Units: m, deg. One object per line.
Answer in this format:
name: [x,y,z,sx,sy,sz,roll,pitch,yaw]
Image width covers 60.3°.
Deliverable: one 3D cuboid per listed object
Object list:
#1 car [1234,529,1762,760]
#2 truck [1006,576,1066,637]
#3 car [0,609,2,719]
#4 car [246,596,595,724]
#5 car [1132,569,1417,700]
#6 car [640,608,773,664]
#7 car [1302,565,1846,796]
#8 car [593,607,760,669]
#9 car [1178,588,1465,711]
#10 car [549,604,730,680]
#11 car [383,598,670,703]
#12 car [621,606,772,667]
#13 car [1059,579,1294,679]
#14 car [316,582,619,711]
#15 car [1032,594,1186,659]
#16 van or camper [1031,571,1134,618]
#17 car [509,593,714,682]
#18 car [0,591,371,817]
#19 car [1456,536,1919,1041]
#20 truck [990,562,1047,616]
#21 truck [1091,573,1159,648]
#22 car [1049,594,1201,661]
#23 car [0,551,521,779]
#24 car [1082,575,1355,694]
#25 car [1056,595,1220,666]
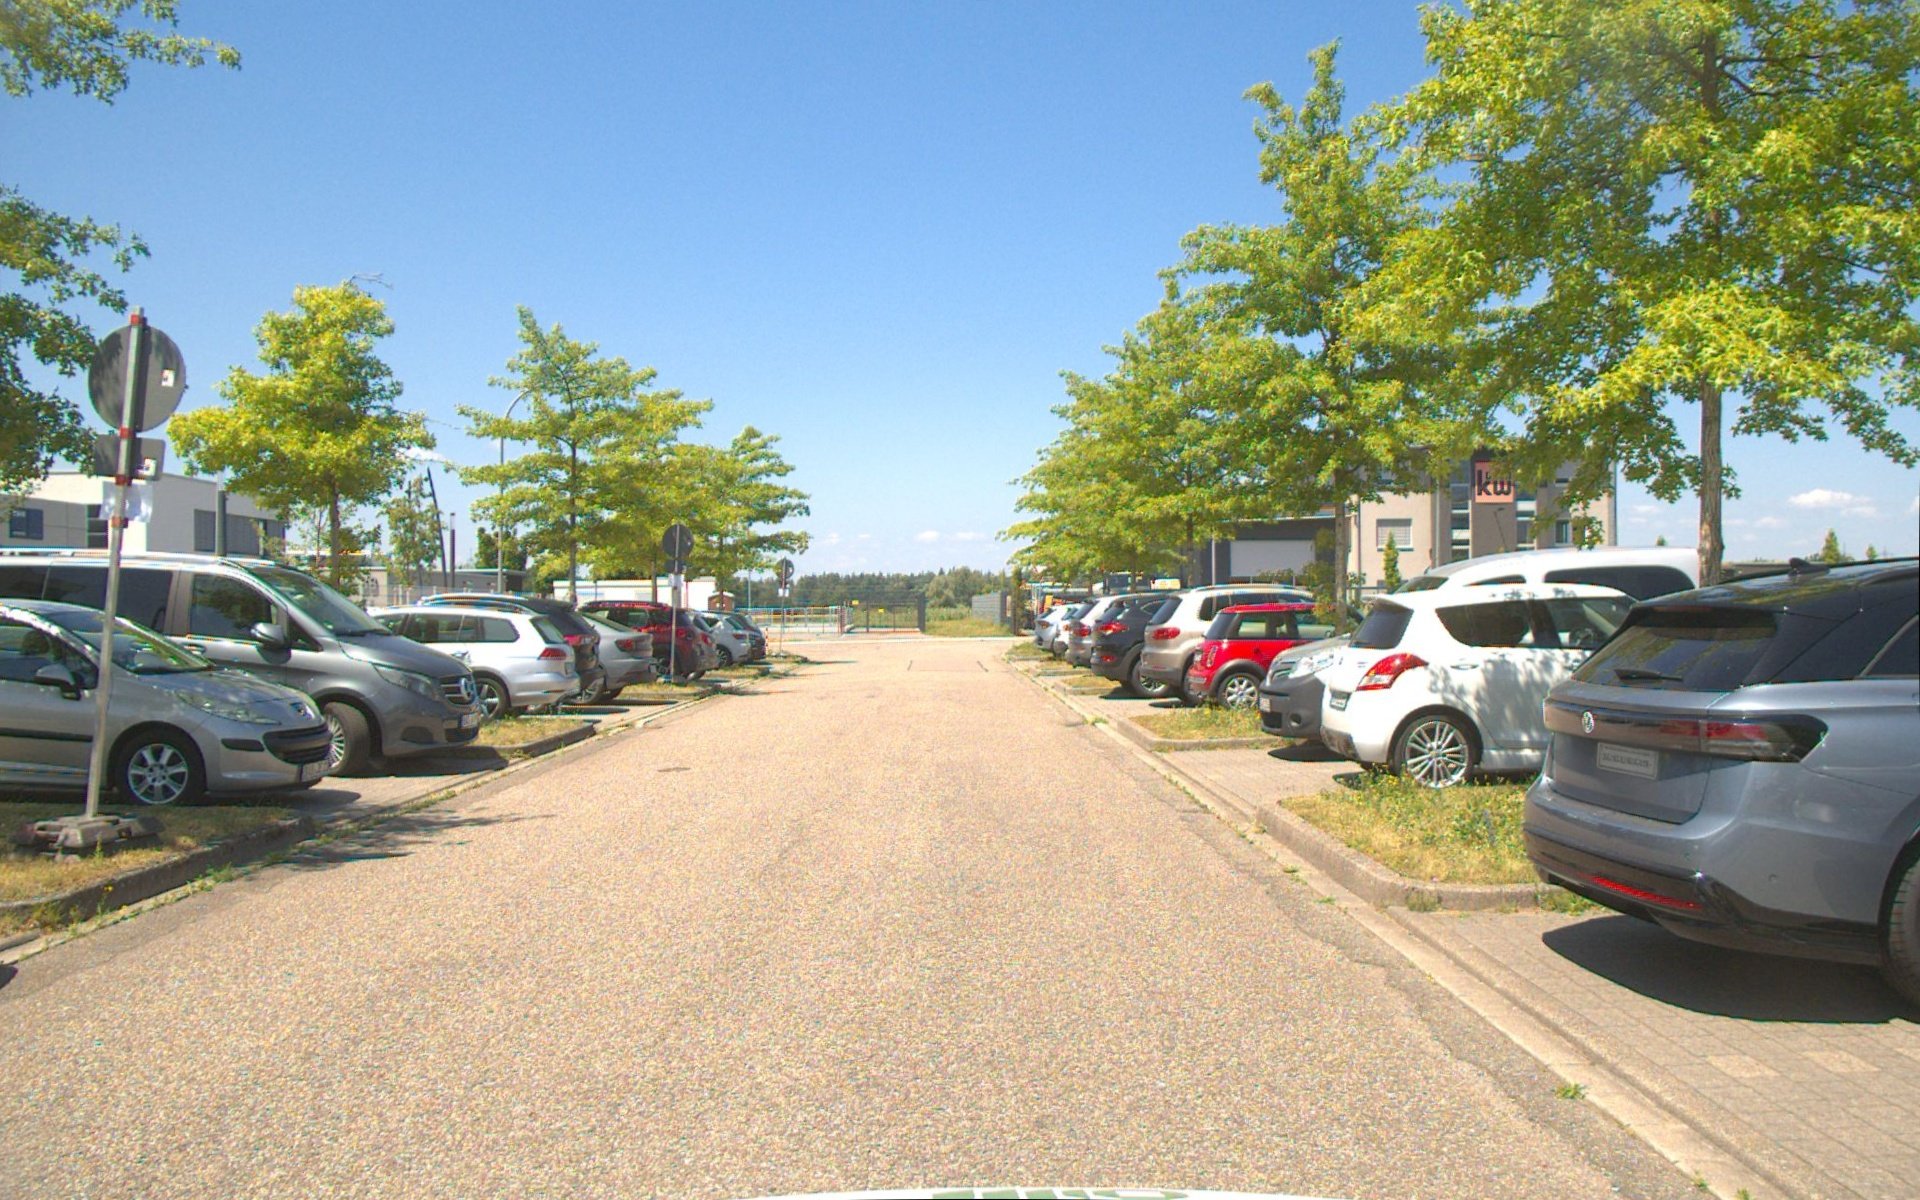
car: [4.912,0.400,15.533,4.313,1.862,1.795,-2,-1,0]
truck: [4.032,0.361,89.264,2.671,3.115,6.933,-1,0,-2]
car: [-6.222,0.728,5.741,4.620,1.472,1.856,1,0,-4]
car: [-6.863,0.758,21.336,3.957,1.486,1.603,2,-1,-4]
car: [4.546,0.495,24.317,3.796,1.707,1.782,-2,0,-1]
car: [-7.147,1.010,46.870,3.554,1.461,1.725,1,-1,-4]
car: [4.629,0.587,12.836,3.557,1.529,1.676,-2,-1,0]
car: [-7.174,0.959,42.194,3.996,1.449,1.872,1,-1,-5]
car: [4.752,0.640,22.096,3.388,1.441,1.754,-2,0,-2]
car: [-6.798,0.882,35.380,3.585,1.535,1.729,1,0,-5]
car: [-6.865,0.786,26.491,4.108,1.506,1.712,2,-1,-1]
car: [-7.071,0.974,44.667,3.850,1.547,1.783,1,-1,-4]
car: [4.306,0.567,33.329,4.361,1.799,1.992,-2,0,-3]
car: [-7.066,0.658,24.075,3.910,1.708,1.775,2,-1,-6]
car: [4.244,0.748,47.607,4.192,1.673,1.850,-2,0,-1]
van or camper: [5.984,-0.303,80.995,4.837,2.201,1.999,-1,1,-2]
car: [-6.845,0.735,32.765,3.661,1.650,1.816,1,0,-1]
car: [-6.703,0.708,12.412,3.888,1.510,1.763,2,0,-1]
car: [4.565,0.528,6.462,4.624,1.588,1.911,-2,0,-5]
truck: [3.374,-0.623,97.286,2.862,2.989,6.933,-1,0,-2]
truck: [9.222,0.567,92.982,2.862,3.998,6.933,-1,0,-2]
car: [4.465,0.751,45.134,3.907,1.673,1.837,-2,0,-2]
car: [-6.845,0.559,15.352,4.965,1.925,1.997,1,0,0]
car: [4.156,0.547,27.016,4.090,1.726,1.781,-2,0,-2]
car: [4.547,0.782,42.610,3.985,1.636,1.901,-2,-1,0]
